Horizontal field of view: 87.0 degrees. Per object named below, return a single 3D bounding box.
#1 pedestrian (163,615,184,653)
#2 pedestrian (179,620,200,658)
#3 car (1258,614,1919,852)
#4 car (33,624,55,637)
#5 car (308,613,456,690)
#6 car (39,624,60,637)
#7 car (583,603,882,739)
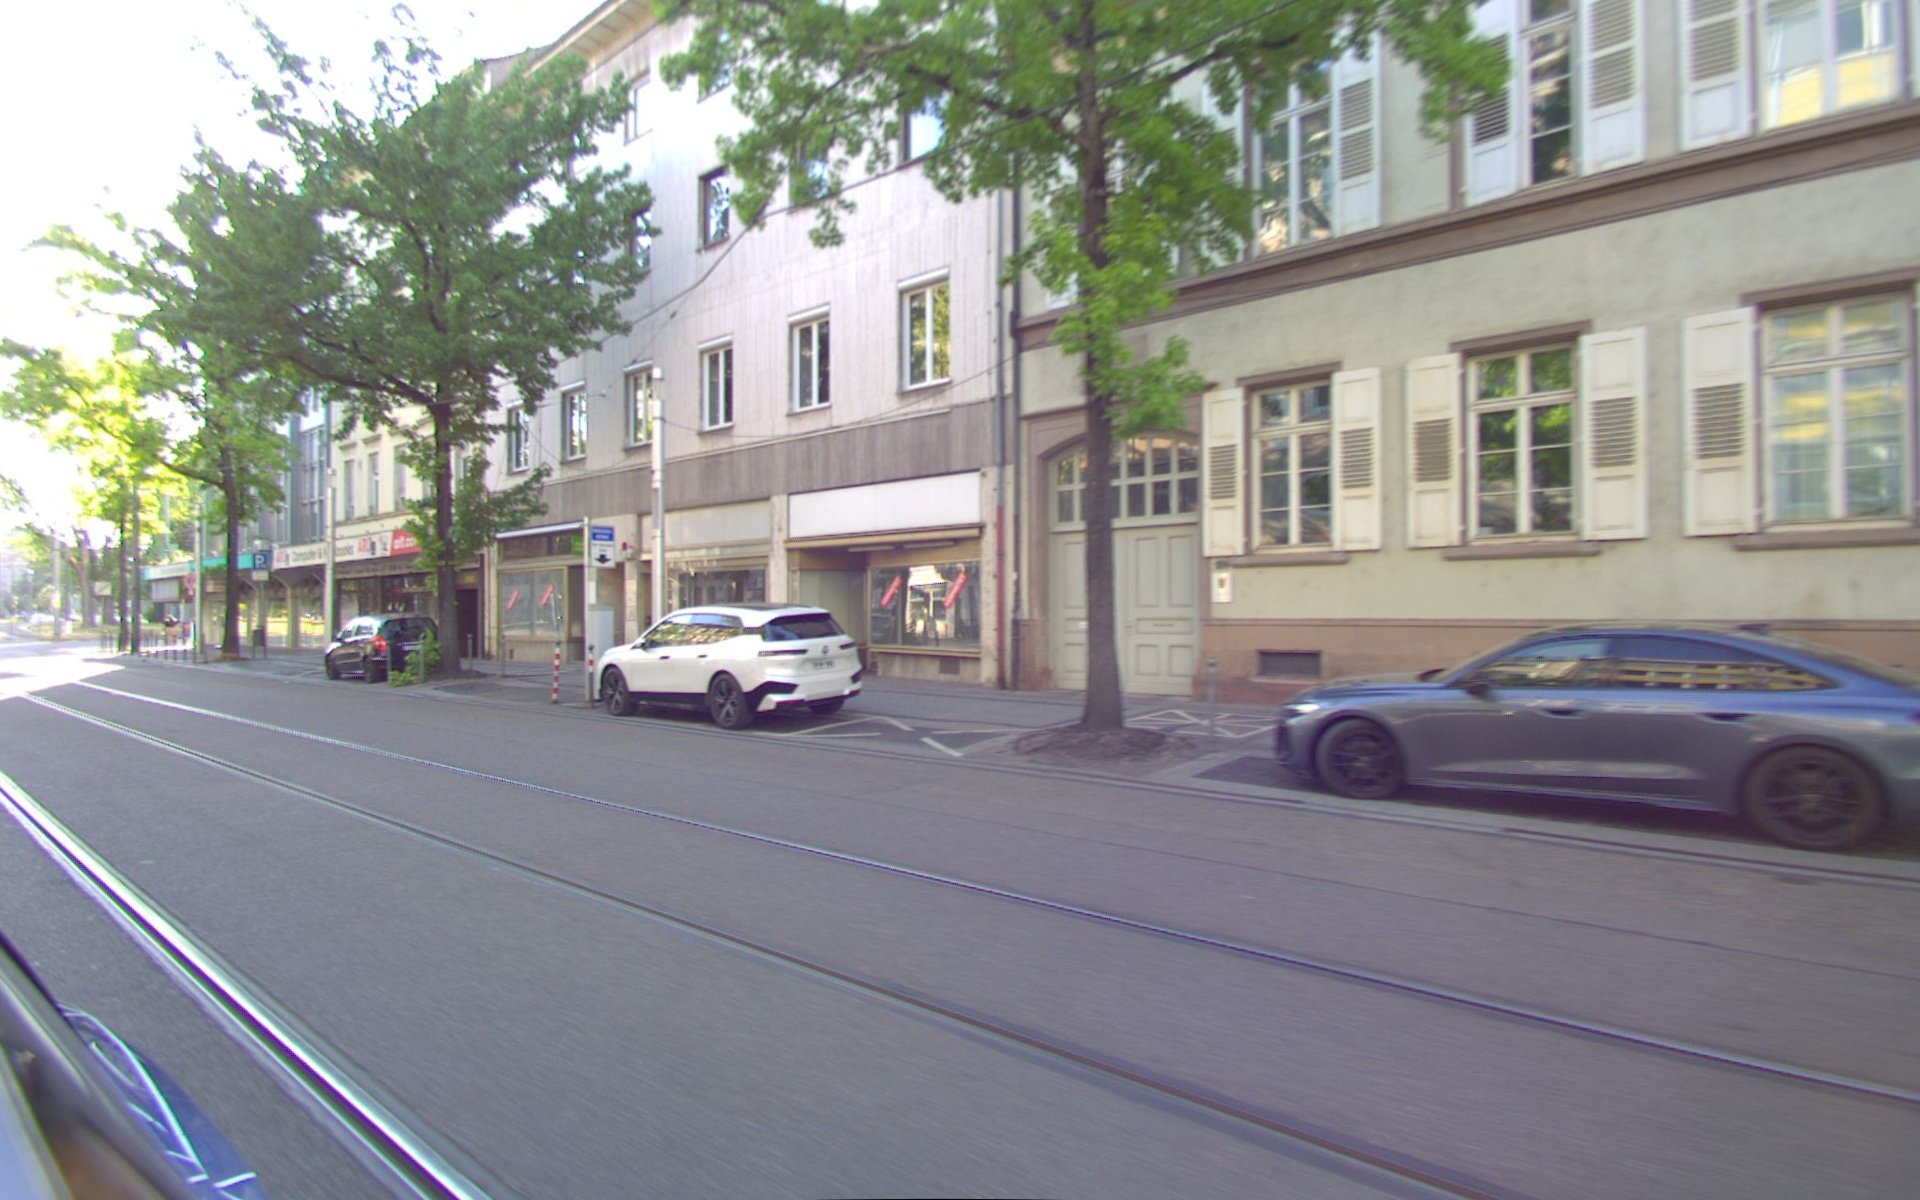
[{"bbox_3d":[-42.043,1.816,54.089,0.734,2.029,0.788,0,0,42],"label":"pedestrian"},{"bbox_3d":[-41.884,2.115,54.985,0.734,2.029,0.788,0,0,42],"label":"pedestrian"},{"bbox_3d":[5.056,0.832,7.970,4.840,1.423,1.943,-1,-1,39],"label":"car"},{"bbox_3d":[-148.858,4.934,164.436,4.543,2.029,1.974,-1,0,39],"label":"car"},{"bbox_3d":[-14.413,1.215,25.183,3.998,1.652,1.942,-1,2,41],"label":"car"},{"bbox_3d":[-142.251,4.709,158.076,3.999,2.029,1.972,-1,-1,42],"label":"car"},{"bbox_3d":[-3.571,0.940,15.322,4.811,1.652,1.941,-1,2,42],"label":"car"}]
